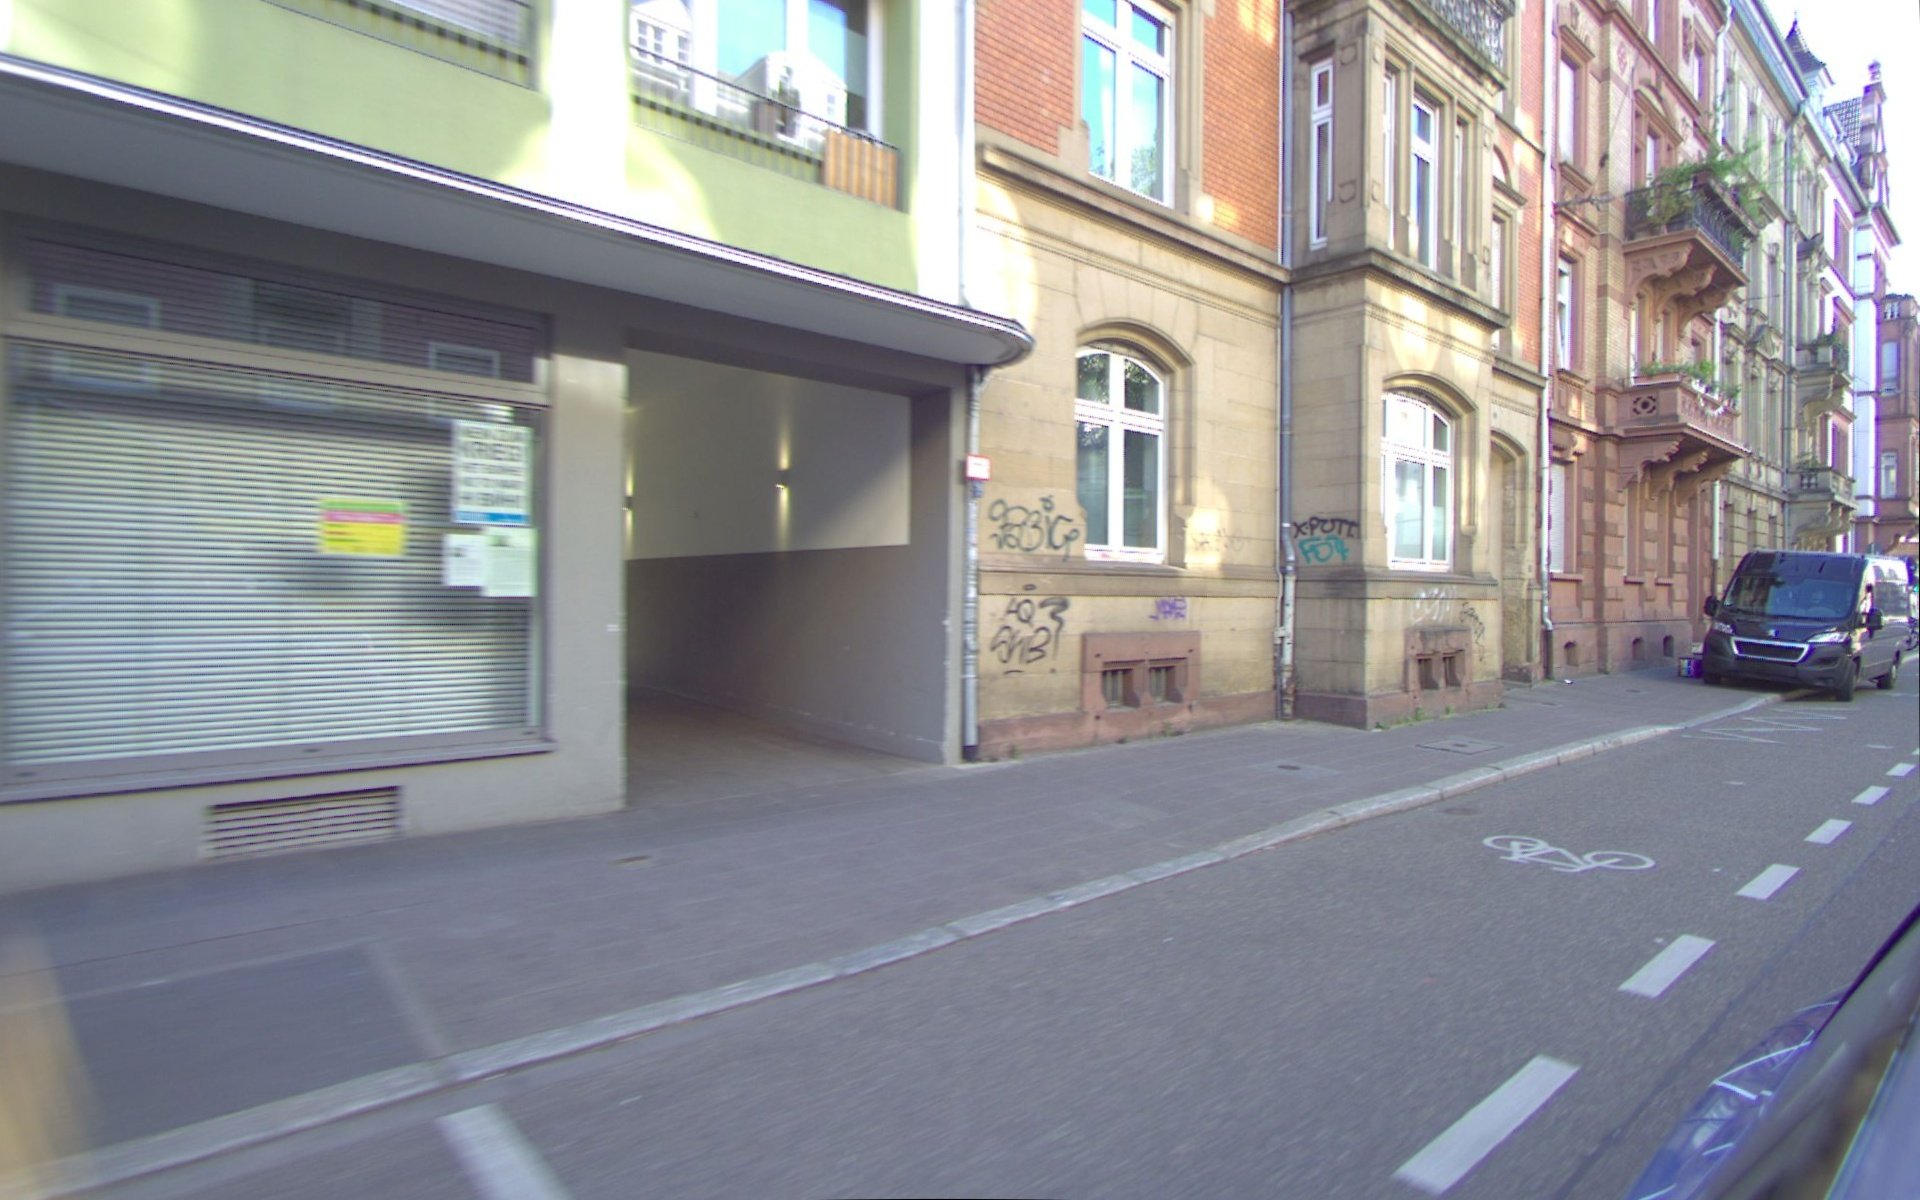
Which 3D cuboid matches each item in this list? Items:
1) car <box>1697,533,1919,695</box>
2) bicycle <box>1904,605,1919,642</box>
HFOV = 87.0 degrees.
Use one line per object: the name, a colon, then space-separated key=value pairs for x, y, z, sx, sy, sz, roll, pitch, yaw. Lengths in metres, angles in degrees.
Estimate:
car: x=15.583 y=0.188 z=18.409 sx=5.751 sy=2.524 sz=2.127 roll=-1 pitch=0 yaw=-39
bicycle: x=30.659 y=0.747 z=32.285 sx=1.659 sy=1.164 sz=0.647 roll=0 pitch=1 yaw=-41
